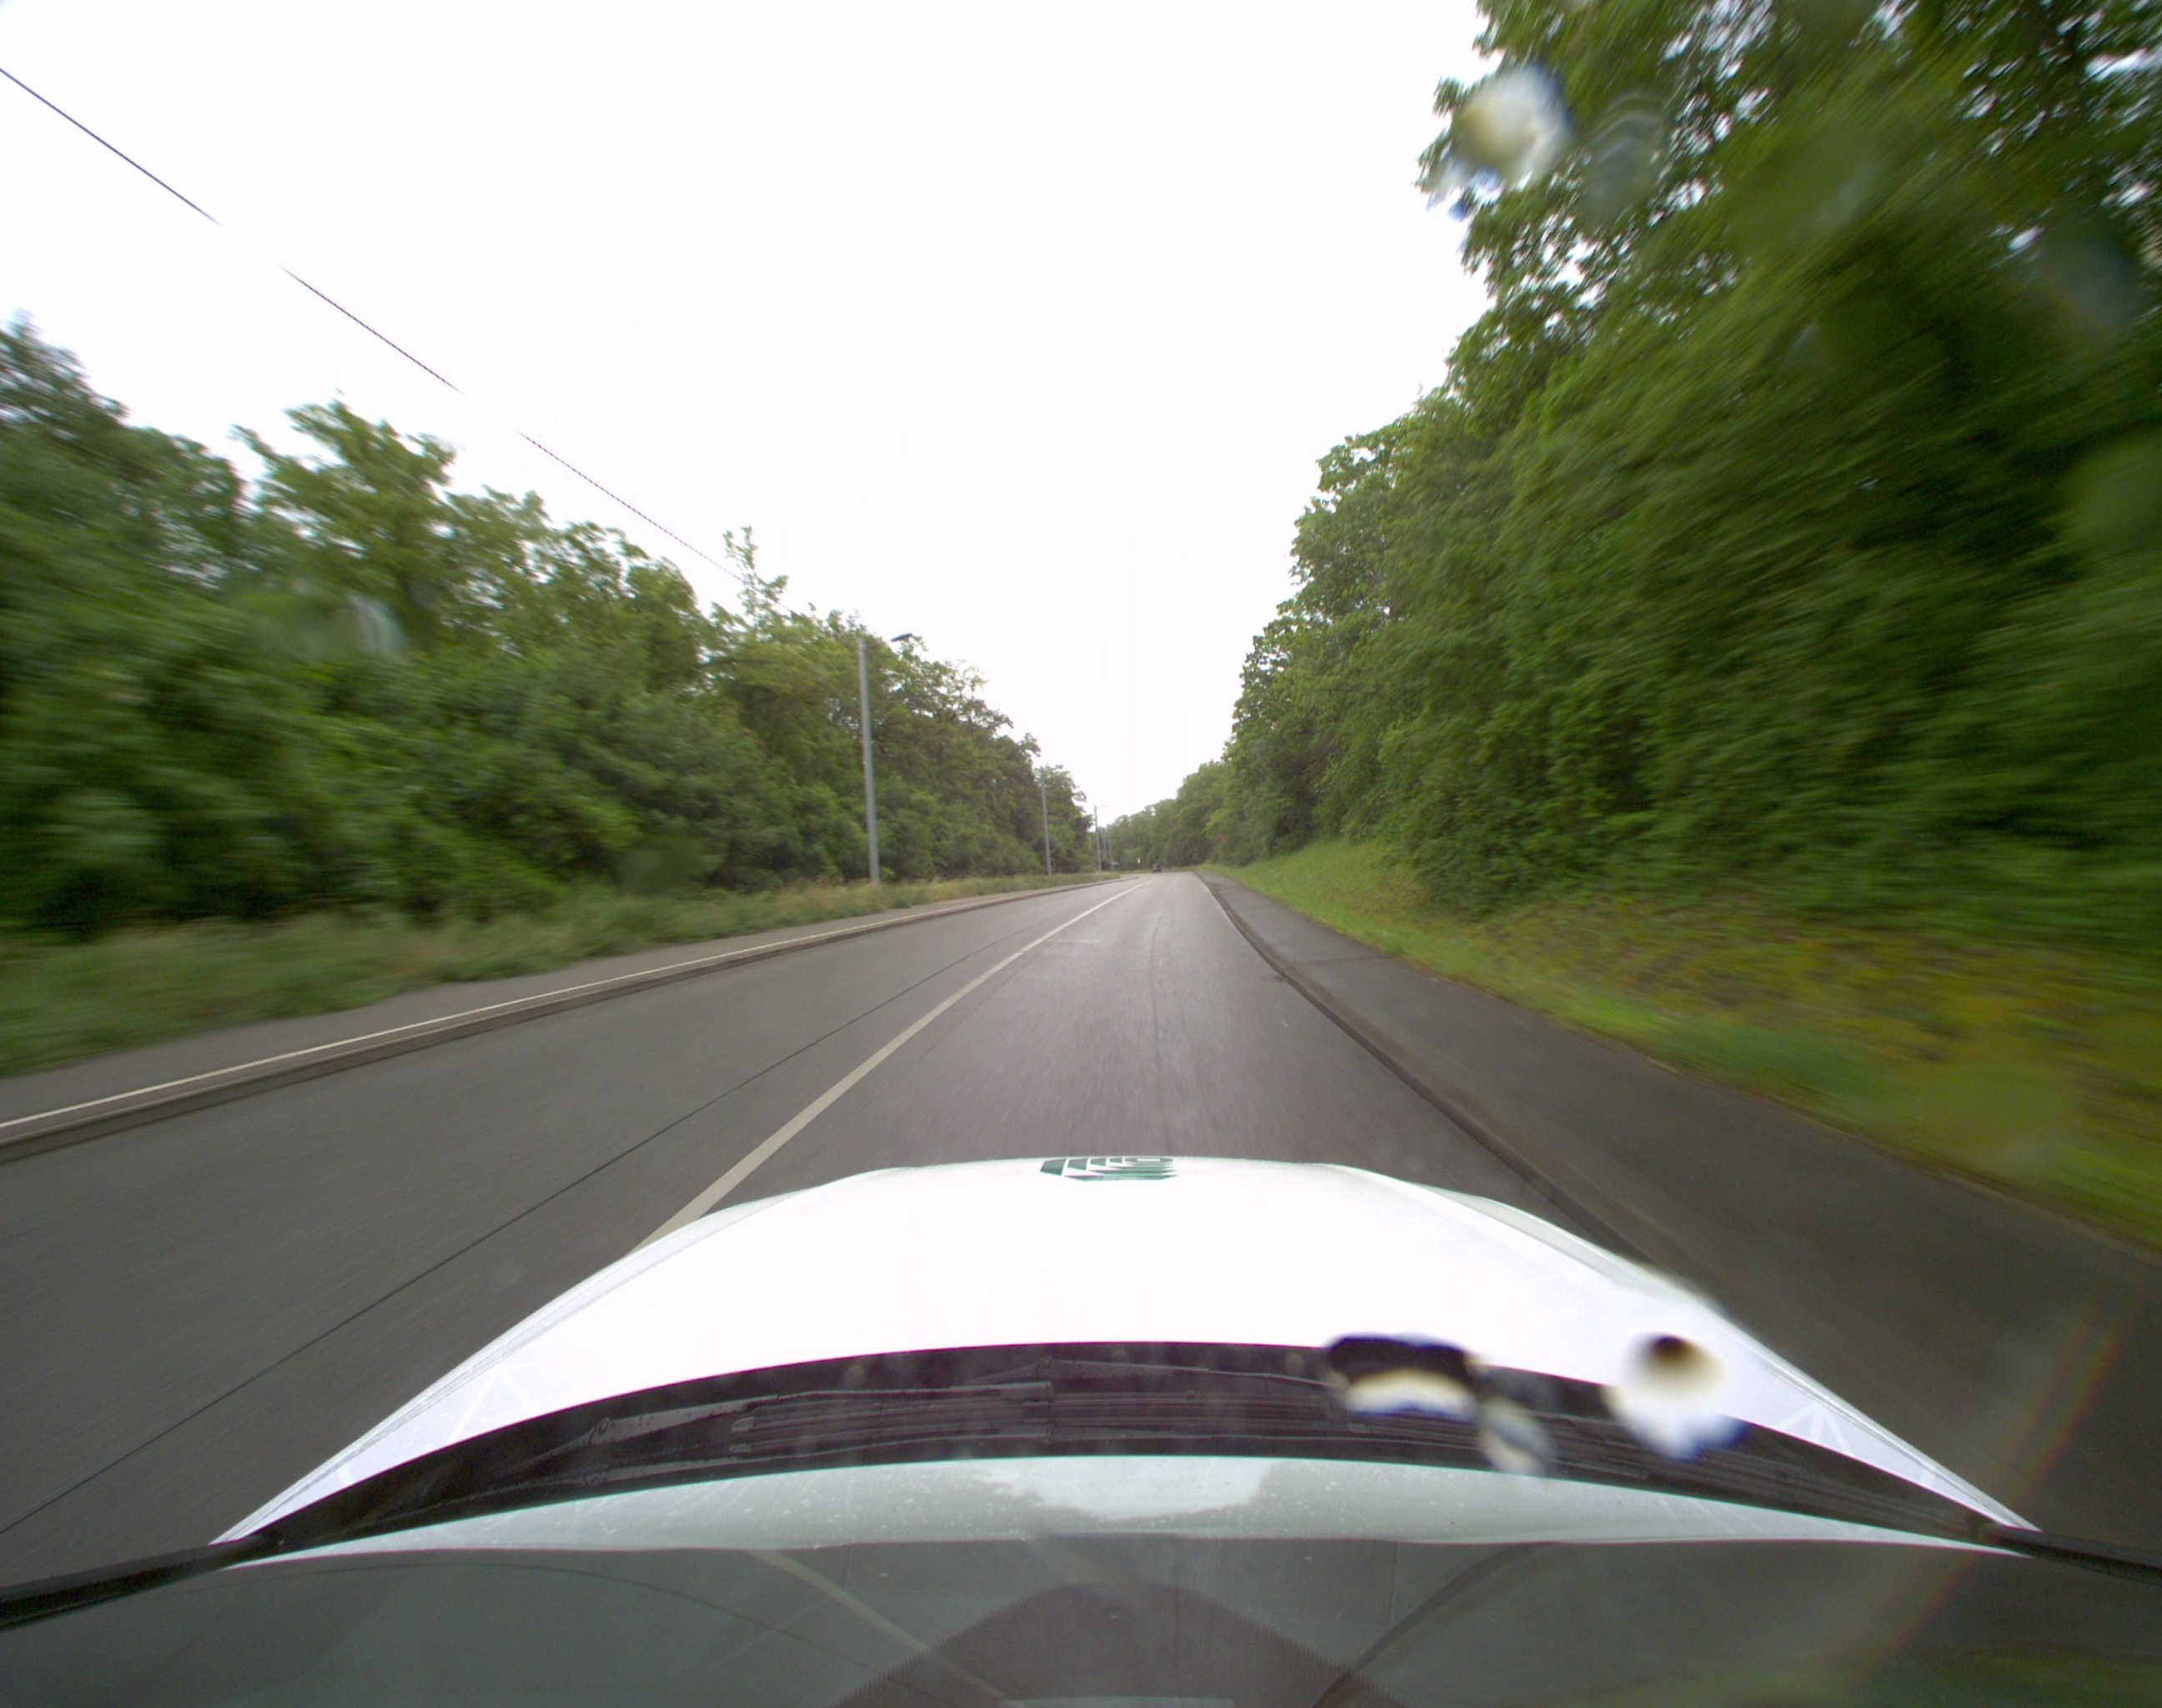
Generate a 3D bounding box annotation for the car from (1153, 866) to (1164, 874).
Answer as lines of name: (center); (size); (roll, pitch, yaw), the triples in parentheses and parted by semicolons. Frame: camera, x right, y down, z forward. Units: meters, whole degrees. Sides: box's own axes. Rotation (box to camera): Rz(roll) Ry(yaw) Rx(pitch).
car: (15.493, 3.167, 162.384); (1.861, 1.596, 3.999); (0, -2, 0)
